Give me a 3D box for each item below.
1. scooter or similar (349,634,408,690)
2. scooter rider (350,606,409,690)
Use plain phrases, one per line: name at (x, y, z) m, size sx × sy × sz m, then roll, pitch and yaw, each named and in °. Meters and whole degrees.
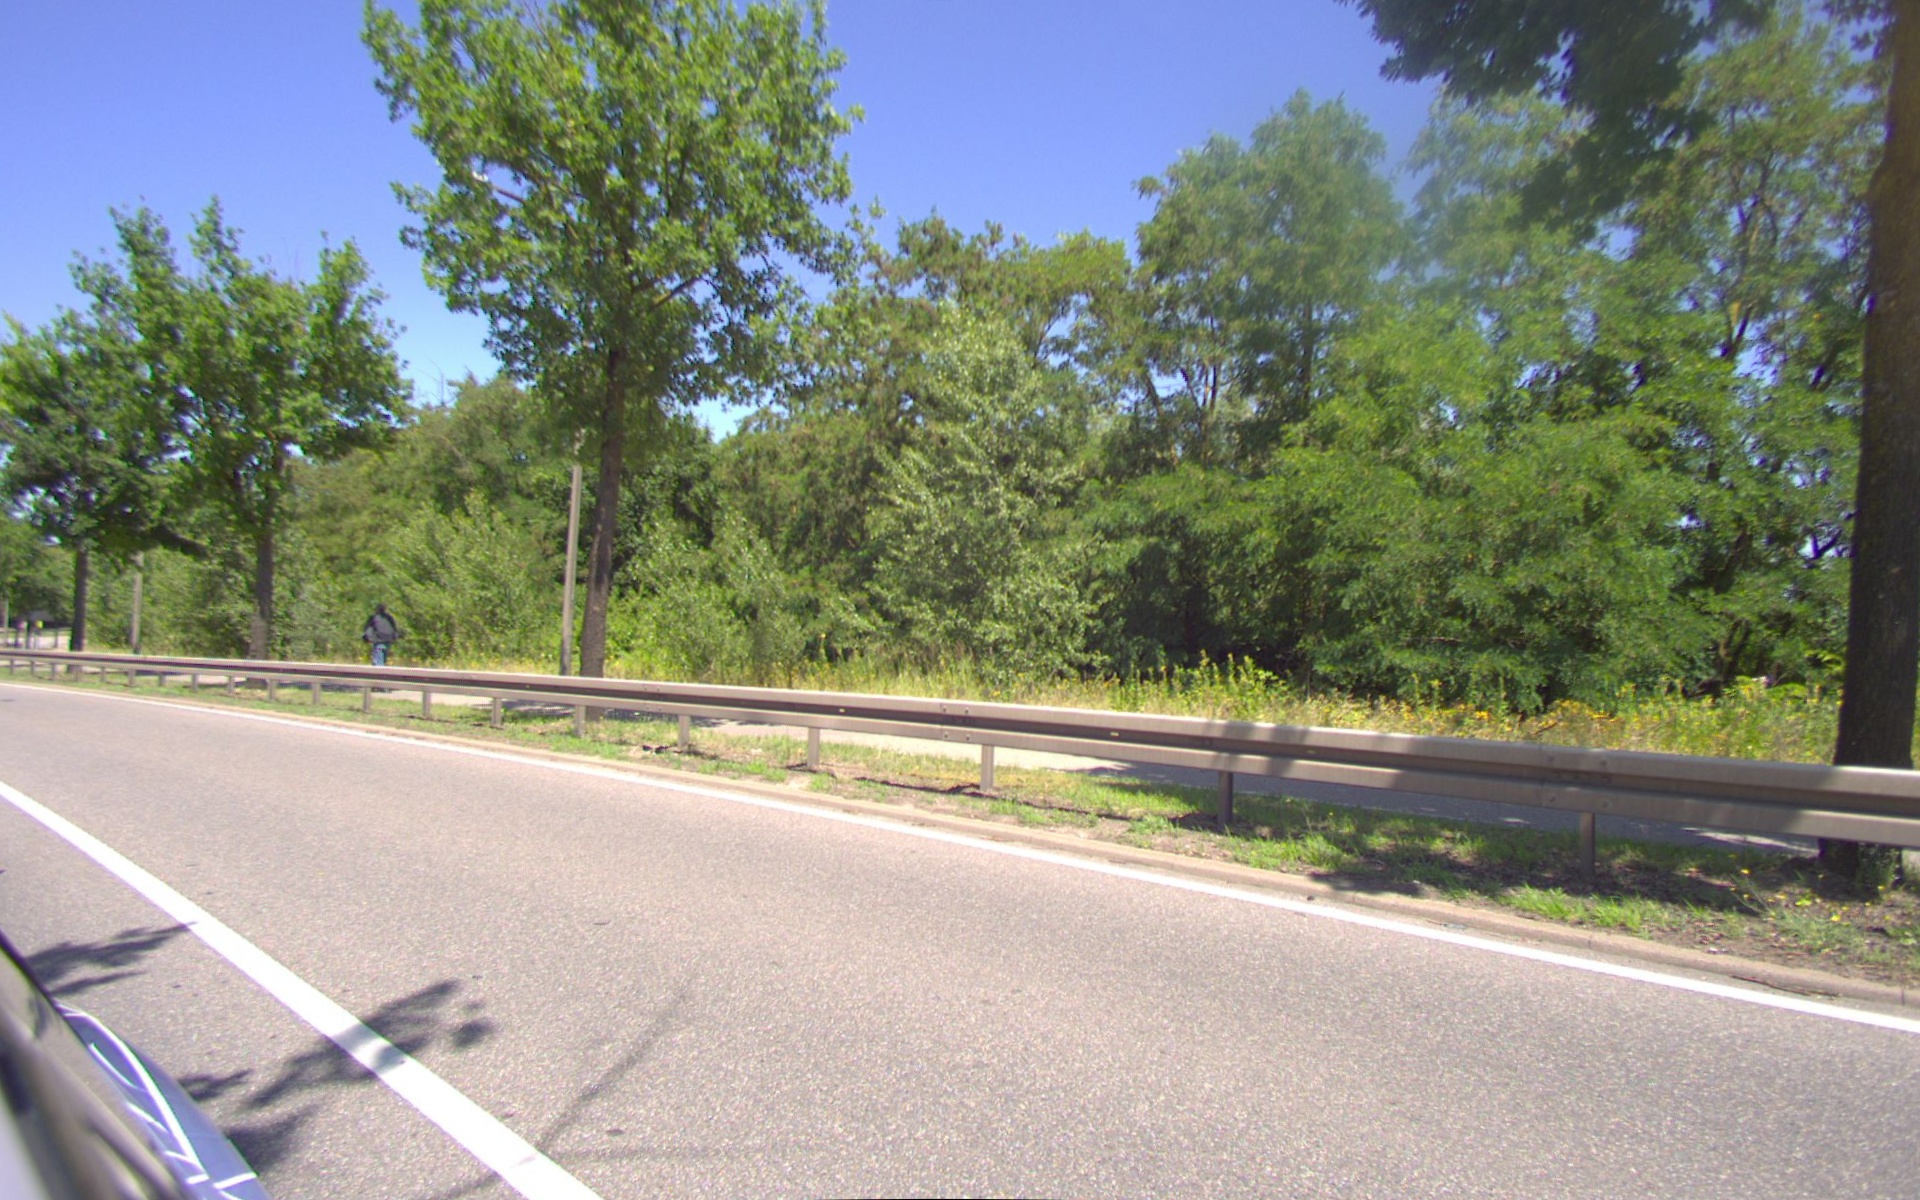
scooter or similar at (-12.095, 1.270, 21.046) m, size 1.094 × 1.099 × 0.769 m, roll -1°, pitch -1°, yaw 41°
scooter rider at (-12.079, 0.974, 21.051) m, size 1.120 × 1.670 × 0.768 m, roll -1°, pitch -1°, yaw 43°
